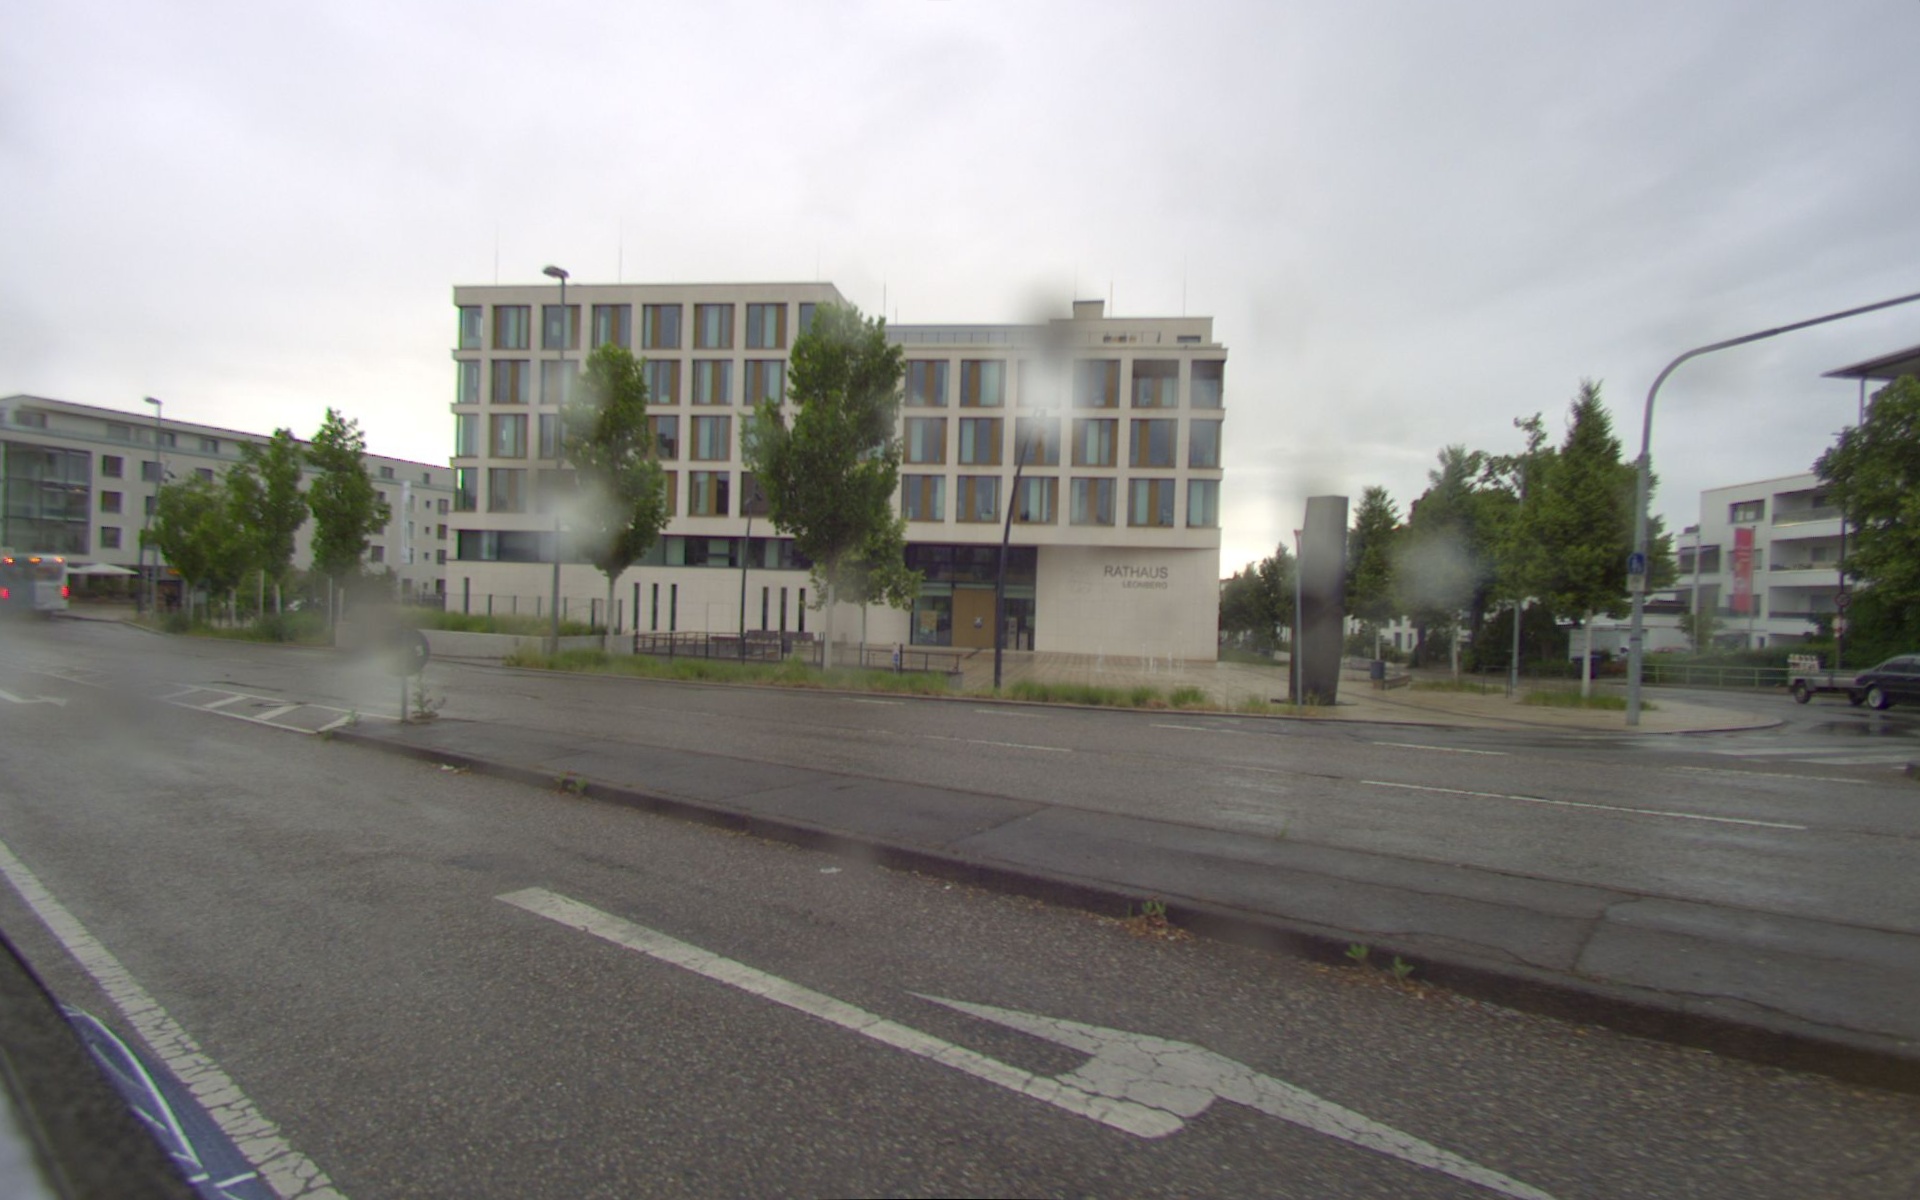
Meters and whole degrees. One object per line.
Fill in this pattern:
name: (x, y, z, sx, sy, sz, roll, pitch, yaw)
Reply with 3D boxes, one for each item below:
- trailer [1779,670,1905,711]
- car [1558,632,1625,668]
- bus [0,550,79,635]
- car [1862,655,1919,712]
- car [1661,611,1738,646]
trailer: (24.319, 2.468, 28.003, 1.589, 0.986, 2.281, 1, -3, 7)
car: (40.053, 3.137, 64.294, 1.766, 2.029, 4.000, 0, 0, 0)
bus: (-52.450, -0.301, 54.589, 18.185, 4.025, 2.918, 0, -3, 35)
car: (23.624, 1.988, 23.470, 1.843, 1.328, 4.346, 1, -3, 7)
car: (45.617, 1.734, 62.523, 1.766, 2.029, 4.000, 0, 0, 0)
